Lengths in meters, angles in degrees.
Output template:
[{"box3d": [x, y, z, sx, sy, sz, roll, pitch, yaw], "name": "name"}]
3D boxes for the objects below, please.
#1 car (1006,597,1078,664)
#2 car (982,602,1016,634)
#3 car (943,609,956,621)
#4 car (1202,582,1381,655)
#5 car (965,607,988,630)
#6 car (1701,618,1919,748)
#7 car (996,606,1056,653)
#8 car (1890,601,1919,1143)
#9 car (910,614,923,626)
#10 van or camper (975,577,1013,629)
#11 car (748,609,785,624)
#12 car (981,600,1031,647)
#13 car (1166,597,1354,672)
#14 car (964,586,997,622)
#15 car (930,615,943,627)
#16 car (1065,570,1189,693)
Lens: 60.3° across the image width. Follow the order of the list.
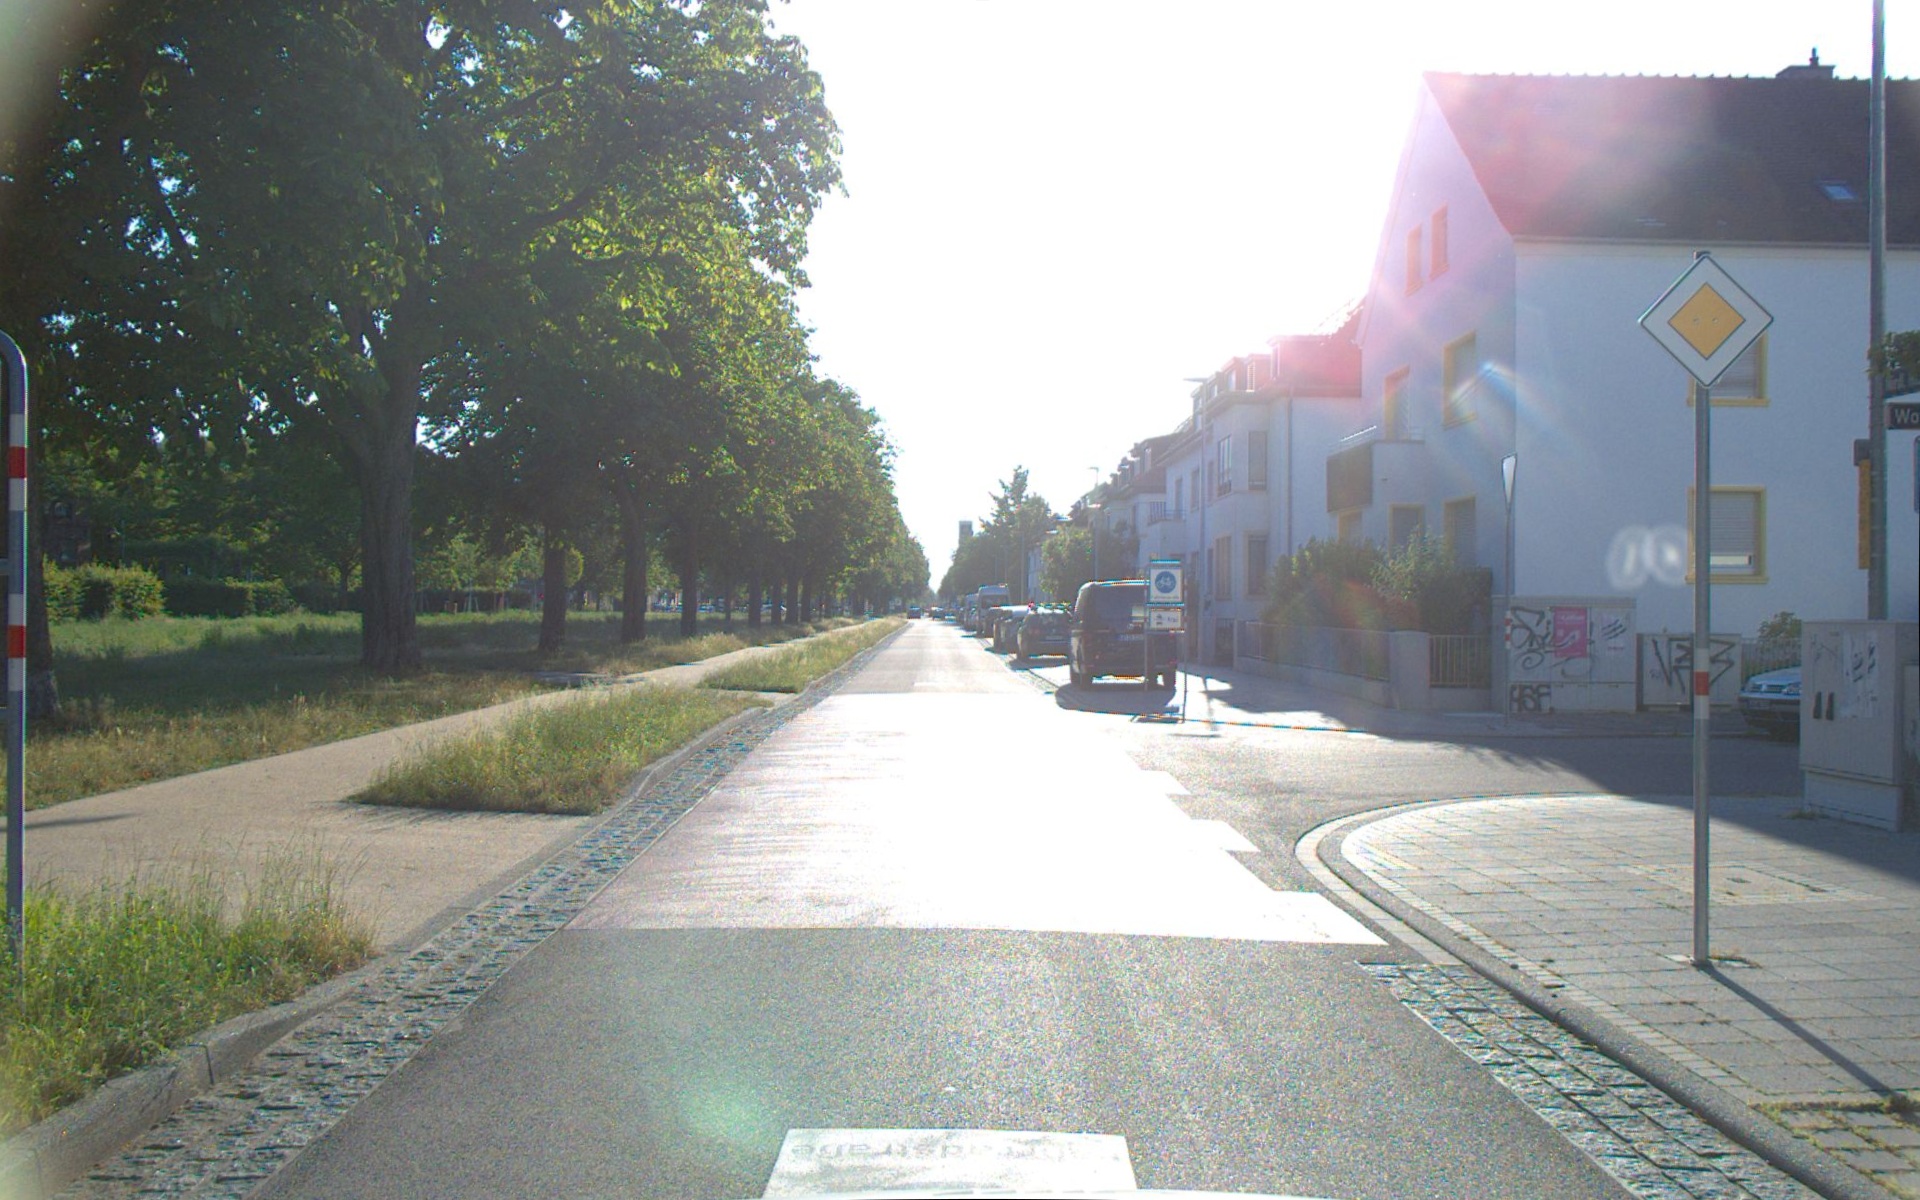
[{"box3d": [2.376, 0.863, 48.920, 1.757, 1.802, 4.471, -2, 0, -1], "name": "car"}, {"box3d": [2.061, 0.918, 87.482, 1.630, 1.621, 4.085, 1, 0, -1], "name": "car"}, {"box3d": [-1.326, 1.932, 211.753, 1.616, 1.557, 3.851, 0, 0, 0], "name": "car"}, {"box3d": [8.447, 0.454, 42.299, 4.134, 1.756, 1.851, -1, 0, -5], "name": "car"}, {"box3d": [1.188, 1.285, 118.155, 1.616, 1.557, 3.851, -1, 0, 0], "name": "car"}, {"box3d": [11.616, 1.017, 20.544, 3.990, 1.496, 1.893, 1, -1, -3], "name": "car"}, {"box3d": [2.384, 1.070, 60.908, 1.684, 1.601, 4.206, -2, 0, -4], "name": "car"}, {"box3d": [3.523, 0.762, 2.608, 1.757, 1.508, 4.124, -3, 1, 0], "name": "car"}, {"box3d": [-6.144, 2.826, 232.204, 1.825, 1.625, 3.868, 1, -1, -2], "name": "car"}, {"box3d": [1.893, 0.224, 94.046, 1.904, 2.826, 5.938, 1, -1, -1], "name": "van or camper"}, {"box3d": [-23.039, 1.958, 196.659, 4.266, 1.795, 1.996, 1, -1, -10], "name": "car"}, {"box3d": [1.828, 0.908, 66.641, 1.795, 1.714, 4.414, 2, 0, -1], "name": "car"}, {"box3d": [7.194, 0.820, 39.931, 4.134, 1.756, 1.851, 0, 0, -5], "name": "car"}, {"box3d": [1.502, 0.301, 124.343, 2.084, 2.577, 5.185, -1, 0, -3], "name": "car"}, {"box3d": [-3.299, 2.862, 230.185, 1.825, 1.625, 3.892, 1, 0, -2], "name": "car"}, {"box3d": [3.187, 0.560, 32.399, 1.867, 2.169, 4.814, -2, 0, 0], "name": "car"}]
